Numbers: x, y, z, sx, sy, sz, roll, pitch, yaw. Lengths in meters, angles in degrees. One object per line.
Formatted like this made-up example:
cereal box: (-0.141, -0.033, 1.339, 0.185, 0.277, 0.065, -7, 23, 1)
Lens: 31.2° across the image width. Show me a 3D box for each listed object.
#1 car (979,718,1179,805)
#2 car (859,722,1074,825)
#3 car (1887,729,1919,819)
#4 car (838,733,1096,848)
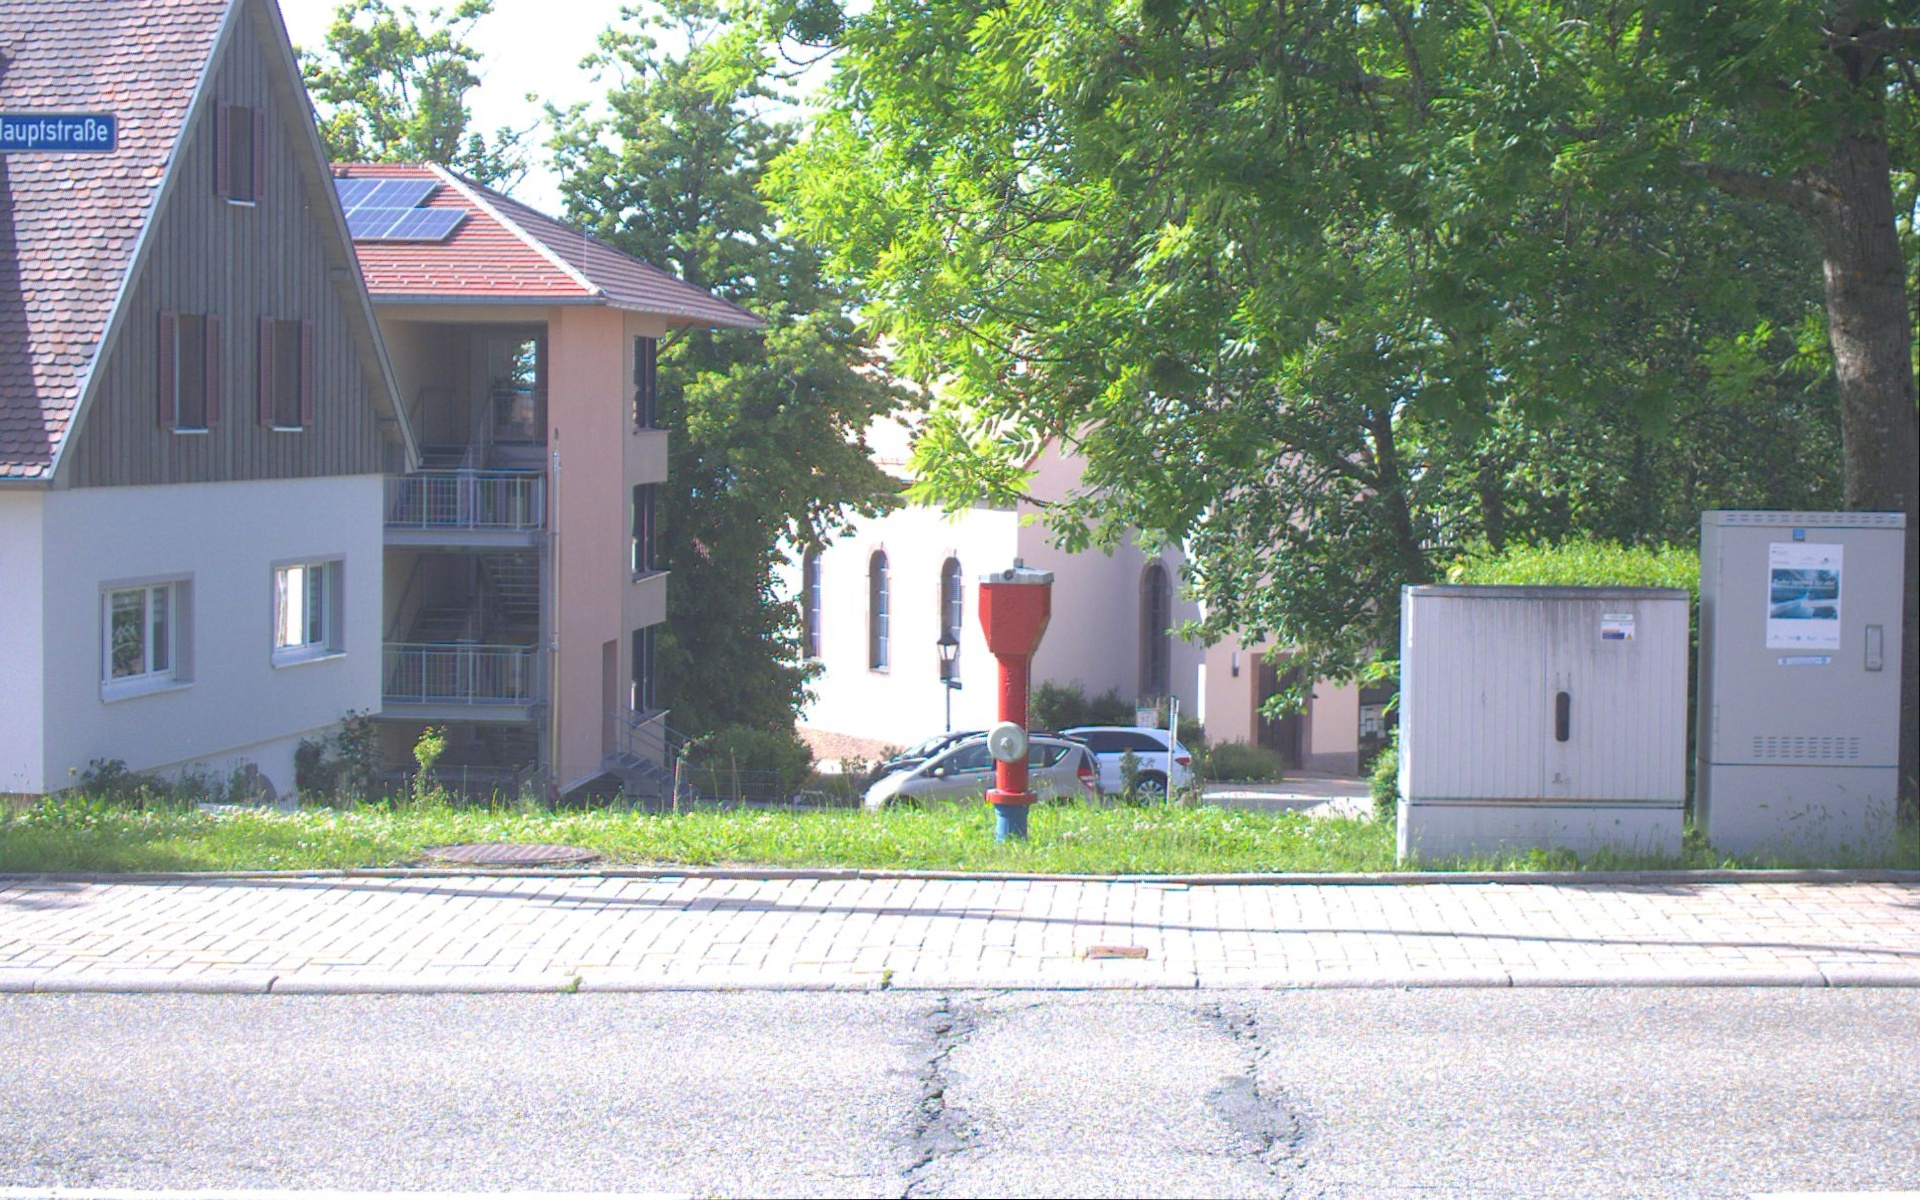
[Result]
car: (2.268, 3.096, 66.224, 3.772, 1.588, 1.714, 0, -1, -1)
car: (0.106, 3.084, 61.371, 3.772, 1.752, 1.714, 0, -1, -1)
car: (18.440, 3.222, 64.230, 1.709, 1.537, 3.784, -1, -1, 9)
car: (0.105, 3.068, 55.579, 4.090, 1.752, 1.713, 0, -1, 0)
